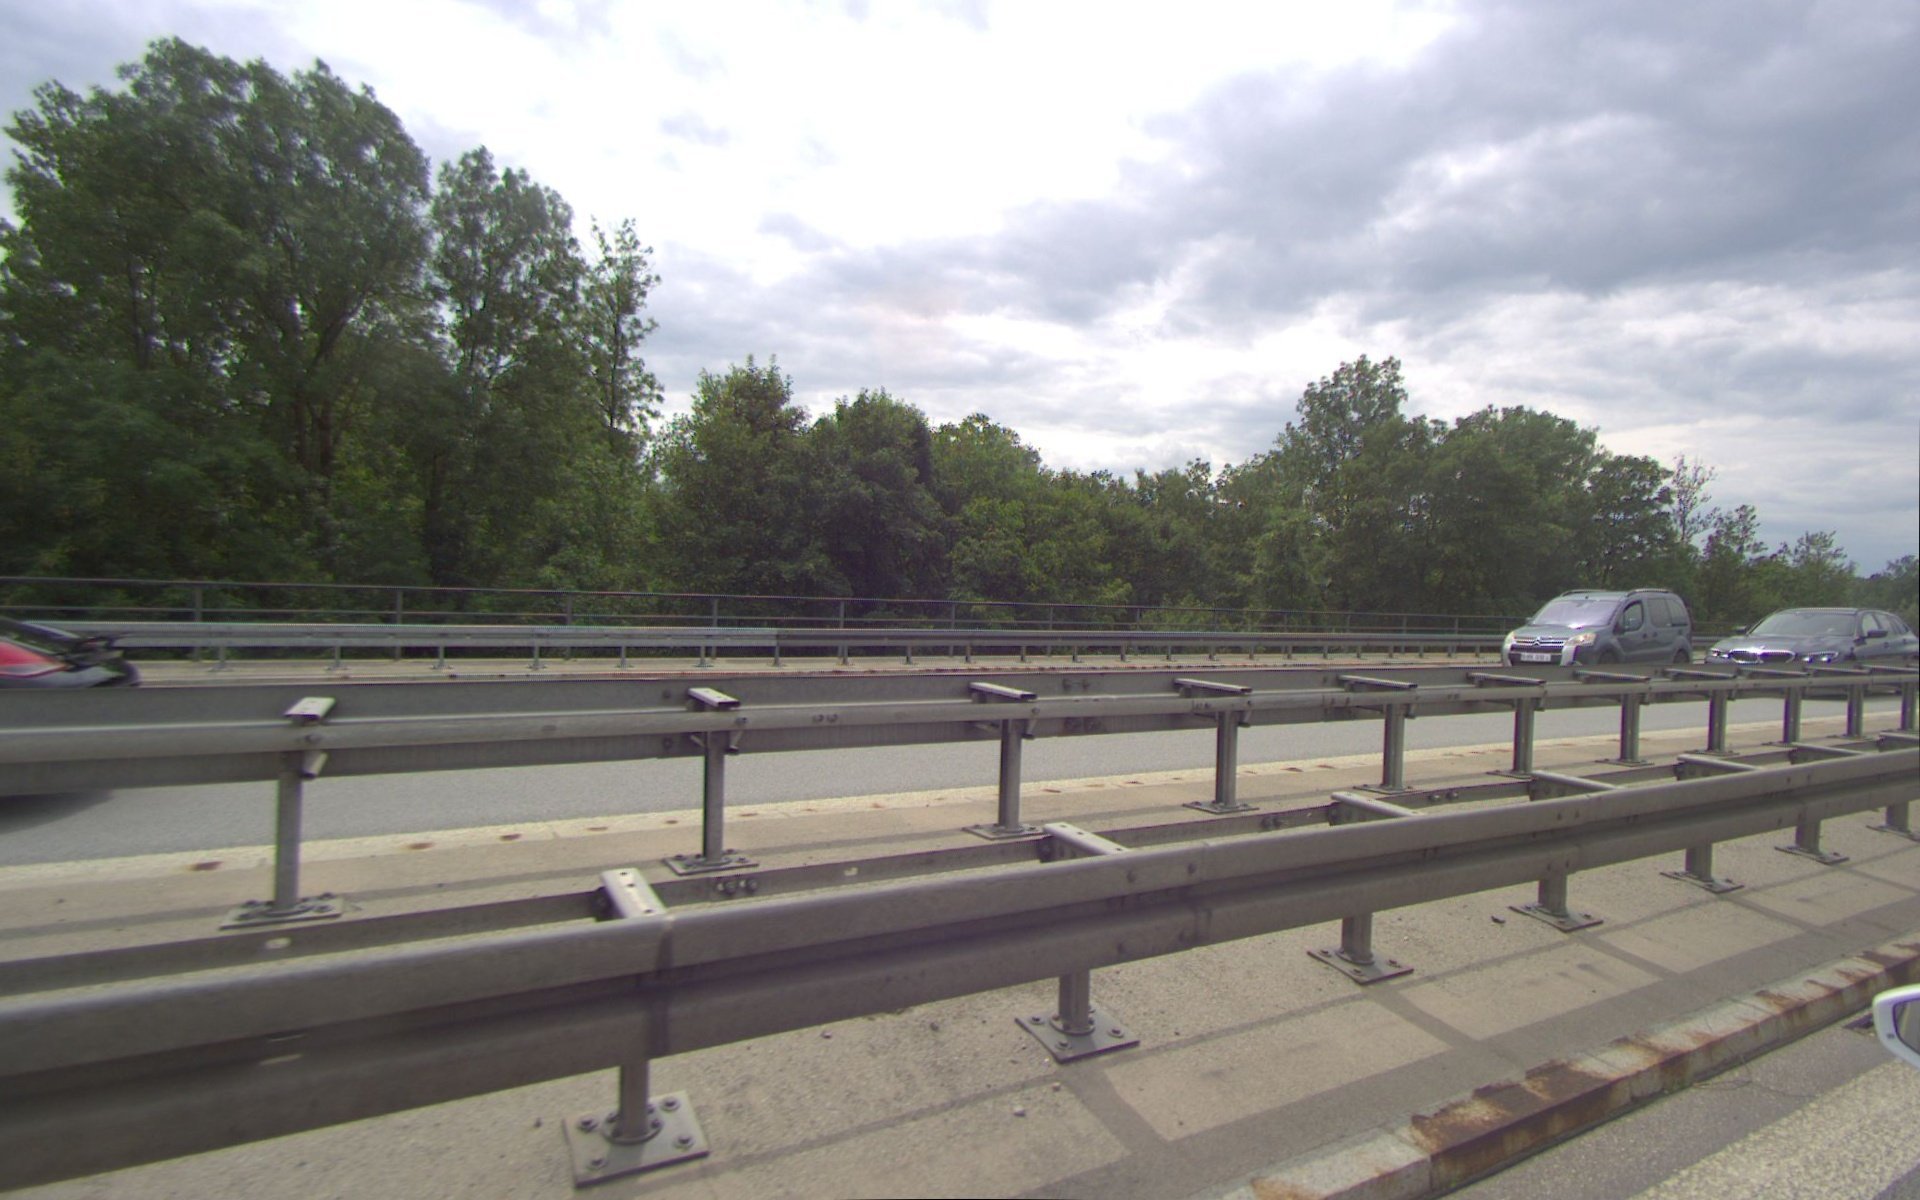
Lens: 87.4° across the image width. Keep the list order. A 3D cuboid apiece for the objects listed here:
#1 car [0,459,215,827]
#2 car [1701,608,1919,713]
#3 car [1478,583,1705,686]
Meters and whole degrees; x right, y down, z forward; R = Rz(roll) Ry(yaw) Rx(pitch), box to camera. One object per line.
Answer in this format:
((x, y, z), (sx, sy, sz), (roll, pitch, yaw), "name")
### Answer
((-5.770, 0.153, 4.272), (3.952, 1.570, 1.637), (1, -1, -29), "car")
((14.263, 0.961, 16.814), (3.955, 1.570, 1.635), (1, -1, -31), "car")
((12.122, 0.625, 19.232), (4.176, 1.768, 1.983), (2, 0, -31), "car")
